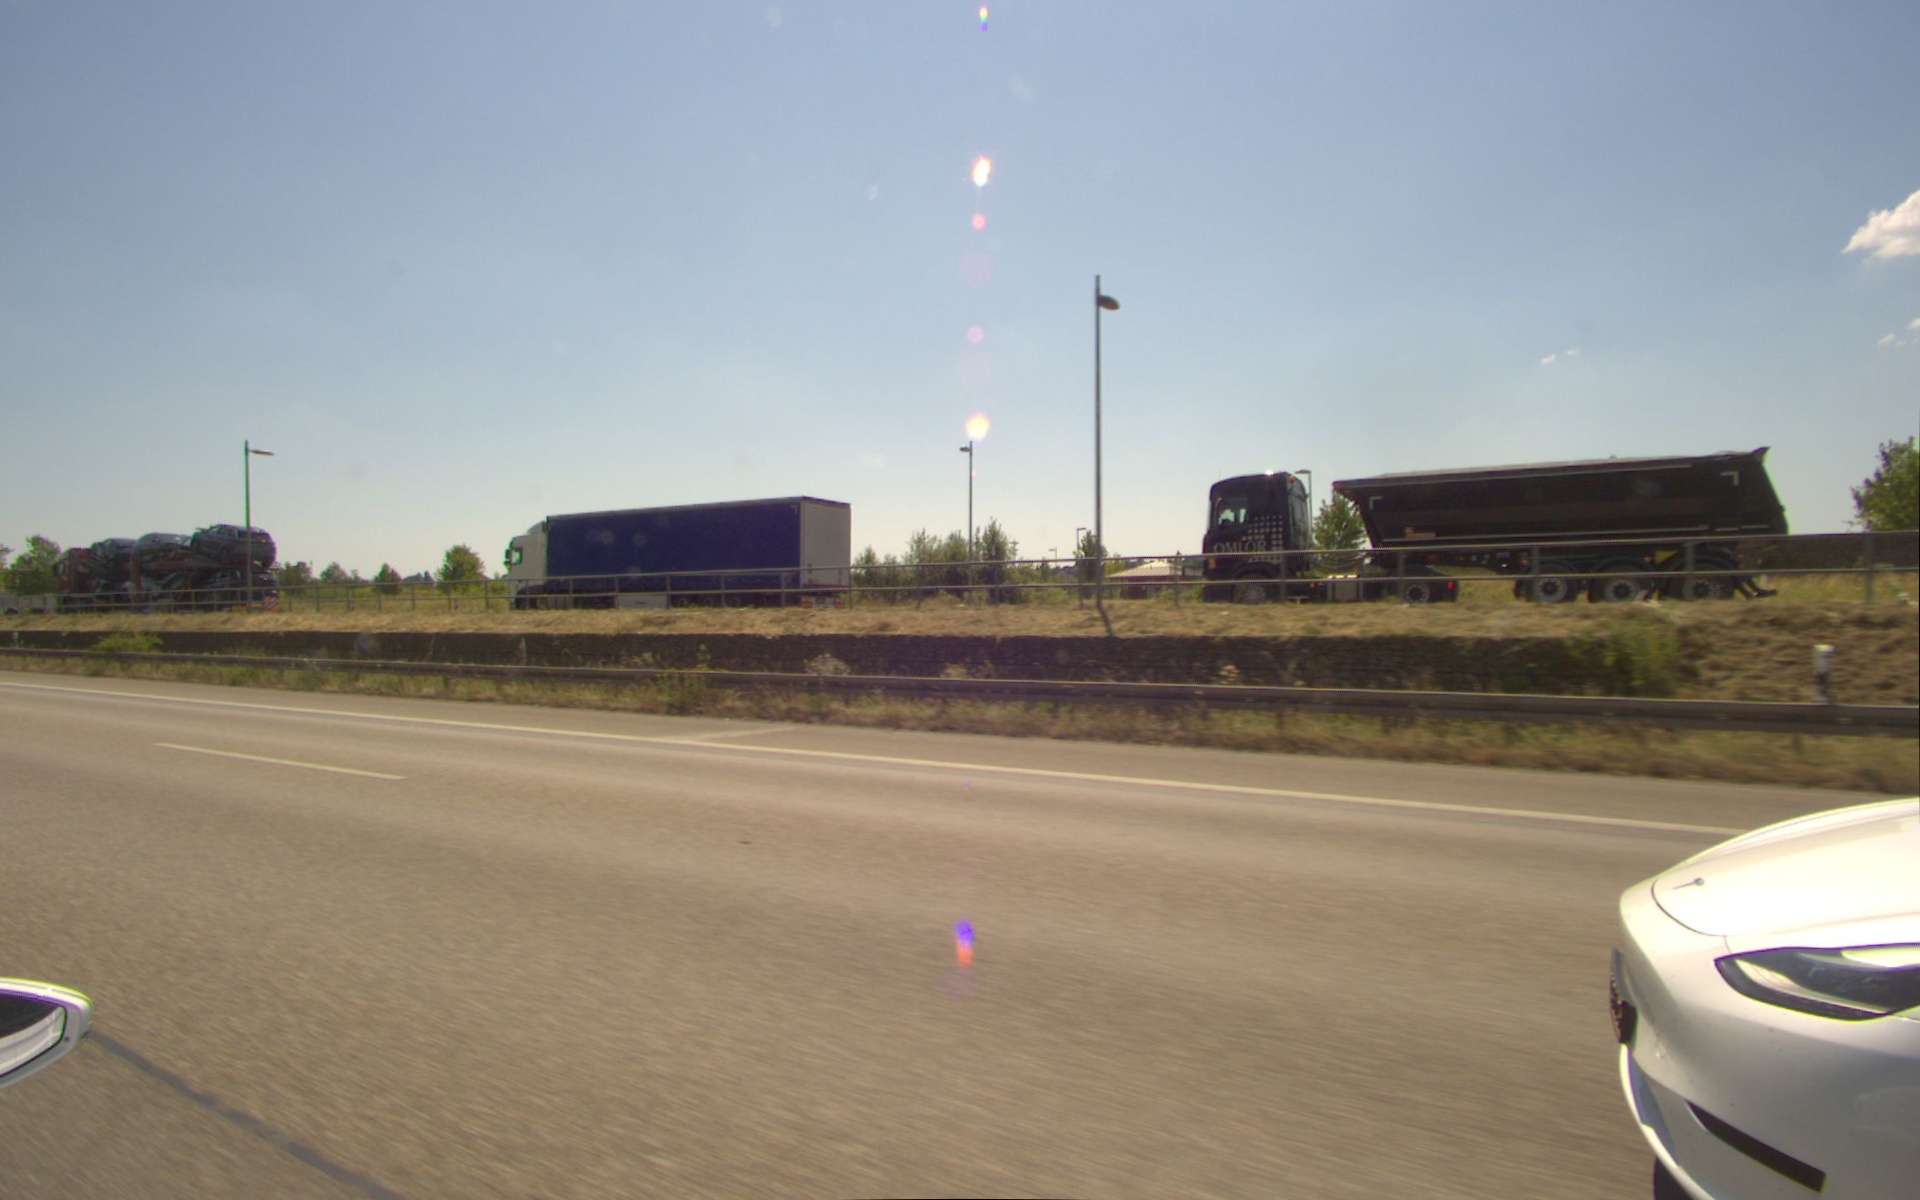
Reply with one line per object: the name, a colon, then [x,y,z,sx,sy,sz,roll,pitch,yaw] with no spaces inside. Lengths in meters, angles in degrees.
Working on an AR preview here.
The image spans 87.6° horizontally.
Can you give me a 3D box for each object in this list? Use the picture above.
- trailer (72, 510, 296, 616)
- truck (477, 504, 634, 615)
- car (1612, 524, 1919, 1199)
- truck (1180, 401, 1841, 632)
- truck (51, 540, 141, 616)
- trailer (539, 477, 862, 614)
trailer: [-38.438,-1.496,49.082,18.159,4.311,2.601,-1,-2,32]
truck: [-16.988,-1.531,41.937,6.309,4.135,3.047,-1,-2,33]
car: [4.177,0.689,1.277,5.520,1.657,1.948,-1,-2,32]
truck: [11.622,-1.358,22.988,12.337,4.135,3.783,-1,-2,32]
truck: [-47.057,-1.135,54.543,3.943,3.875,2.598,-1,-2,32]
trailer: [-10.094,-1.690,37.387,14.059,4.135,3.046,-1,-2,33]
